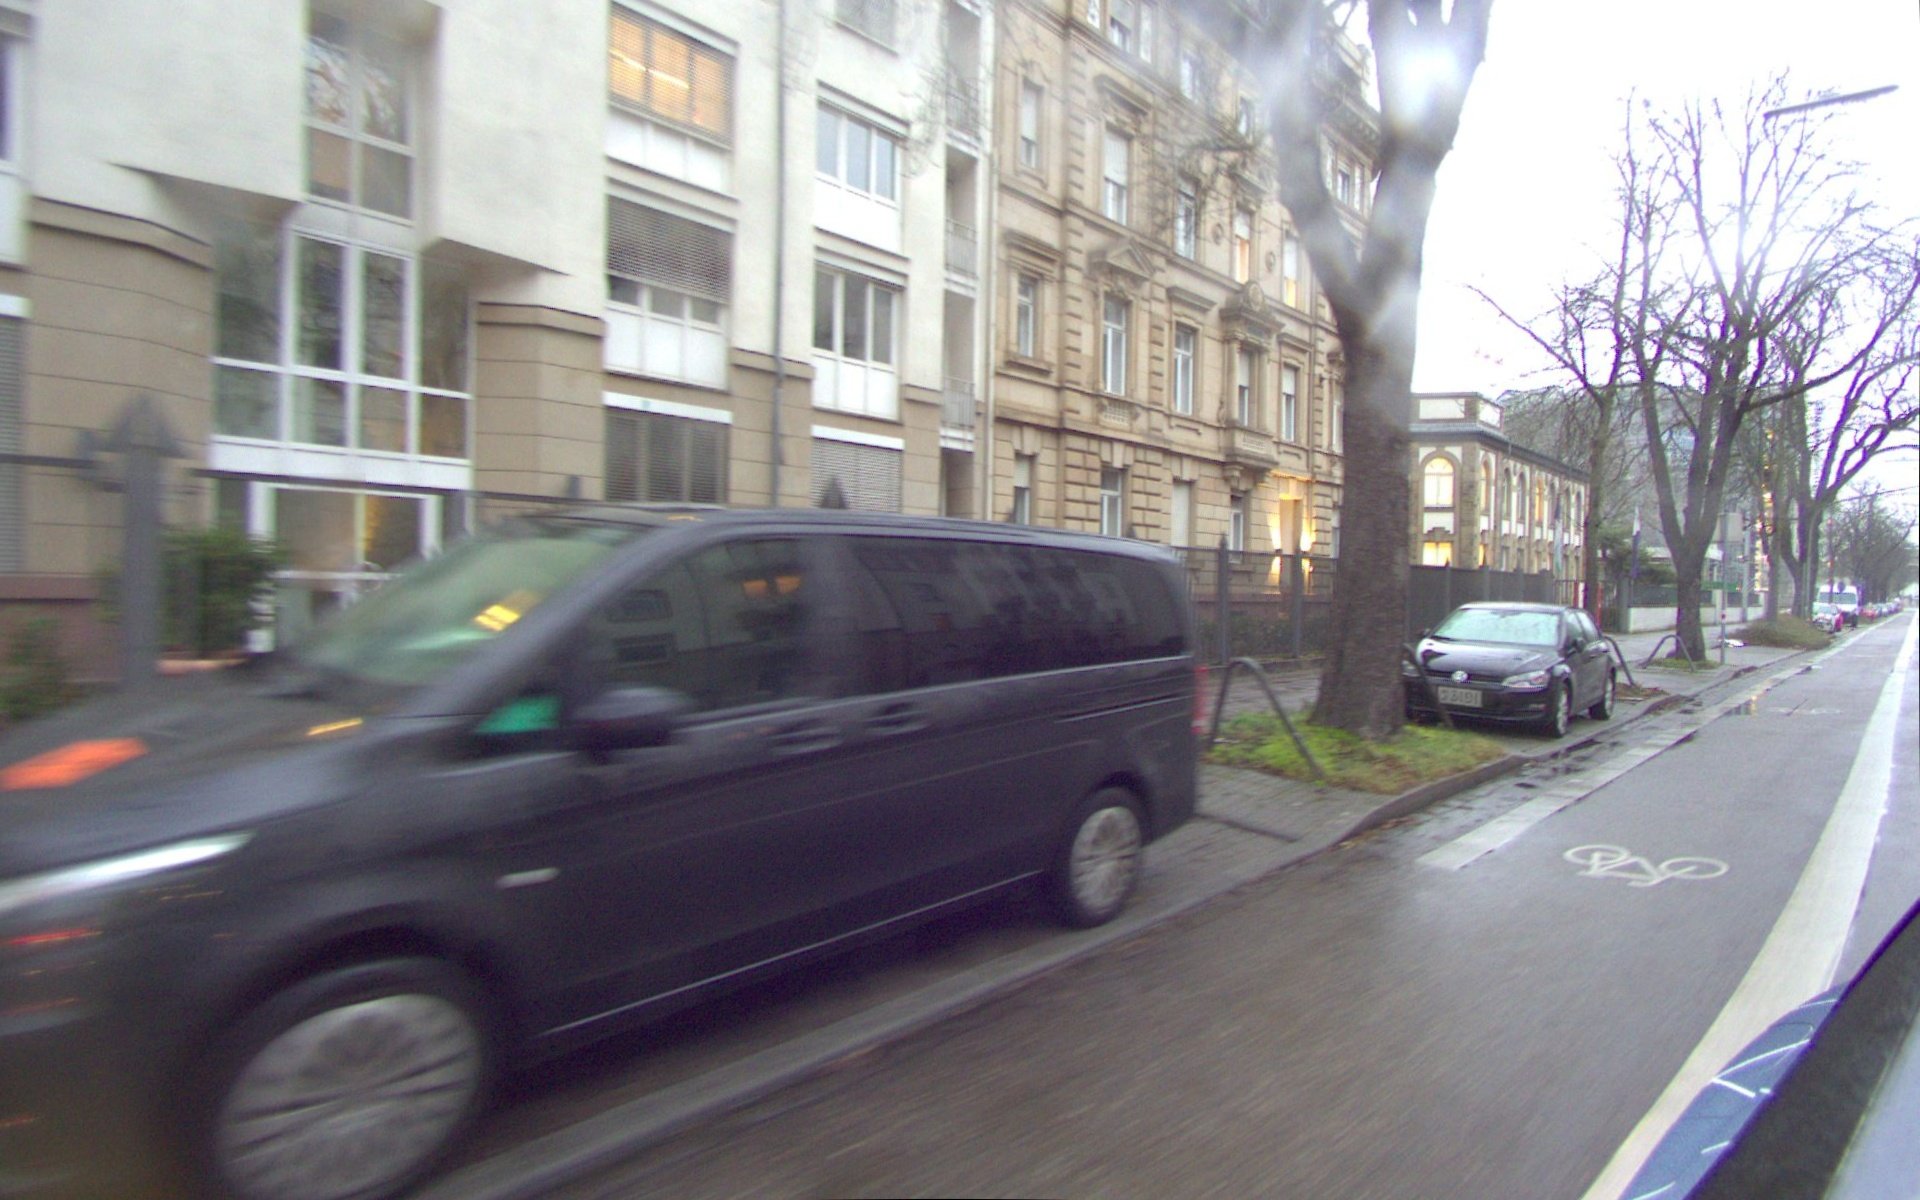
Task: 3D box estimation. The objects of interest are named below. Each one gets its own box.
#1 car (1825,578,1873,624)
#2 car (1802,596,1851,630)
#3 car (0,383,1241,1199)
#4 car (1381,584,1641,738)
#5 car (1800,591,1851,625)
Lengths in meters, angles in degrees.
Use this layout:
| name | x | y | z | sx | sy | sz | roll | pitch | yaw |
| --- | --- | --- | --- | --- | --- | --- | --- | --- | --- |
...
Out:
| name | x | y | z | sx | sy | sz | roll | pitch | yaw |
| --- | --- | --- | --- | --- | --- | --- | --- | --- | --- |
| car | 53.061 | 0.004 | 60.456 | 2.085 | 2.670 | 5.369 | 1 | 1 | 41 |
| car | 39.547 | 0.542 | 46.176 | 1.622 | 1.425 | 3.941 | 1 | 1 | 41 |
| car | -0.989 | 0.502 | 4.215 | 2.032 | 1.899 | 4.884 | 3 | 2 | 44 |
| car | 6.814 | 0.619 | 12.308 | 1.758 | 1.463 | 4.092 | 5 | 3 | 43 |
| car | 45.963 | 0.397 | 53.742 | 1.992 | 1.702 | 3.941 | 1 | 1 | 41 |
